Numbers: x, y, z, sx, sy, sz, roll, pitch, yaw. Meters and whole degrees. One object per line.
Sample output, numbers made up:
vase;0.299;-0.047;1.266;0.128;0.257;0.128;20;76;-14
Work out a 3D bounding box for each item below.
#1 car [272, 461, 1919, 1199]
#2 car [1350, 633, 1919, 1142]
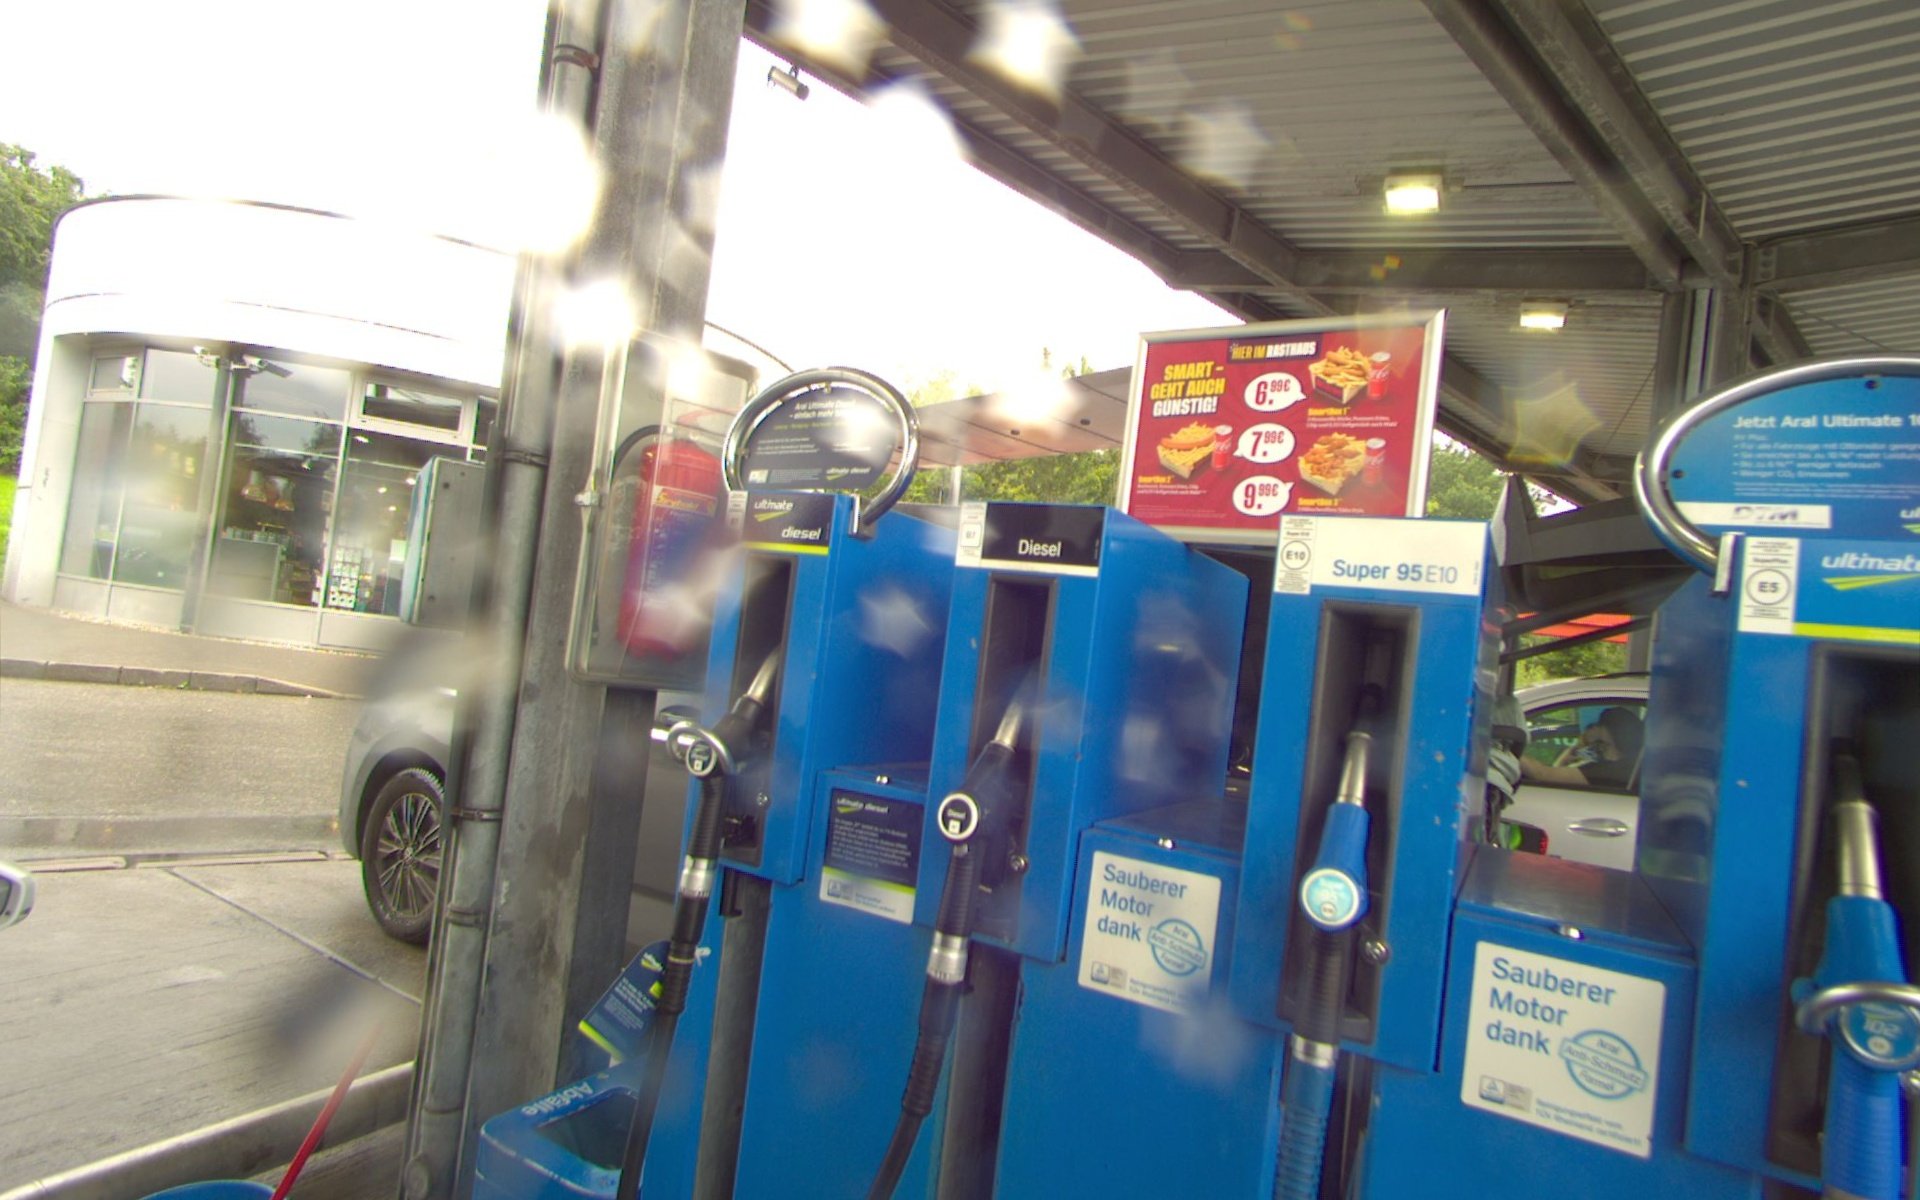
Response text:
car;-0.155;0.646;3.676;5.055;1.819;1.865;6;-2;32
car;4.482;1.371;4.819;4.464;1.819;1.865;6;-2;32
